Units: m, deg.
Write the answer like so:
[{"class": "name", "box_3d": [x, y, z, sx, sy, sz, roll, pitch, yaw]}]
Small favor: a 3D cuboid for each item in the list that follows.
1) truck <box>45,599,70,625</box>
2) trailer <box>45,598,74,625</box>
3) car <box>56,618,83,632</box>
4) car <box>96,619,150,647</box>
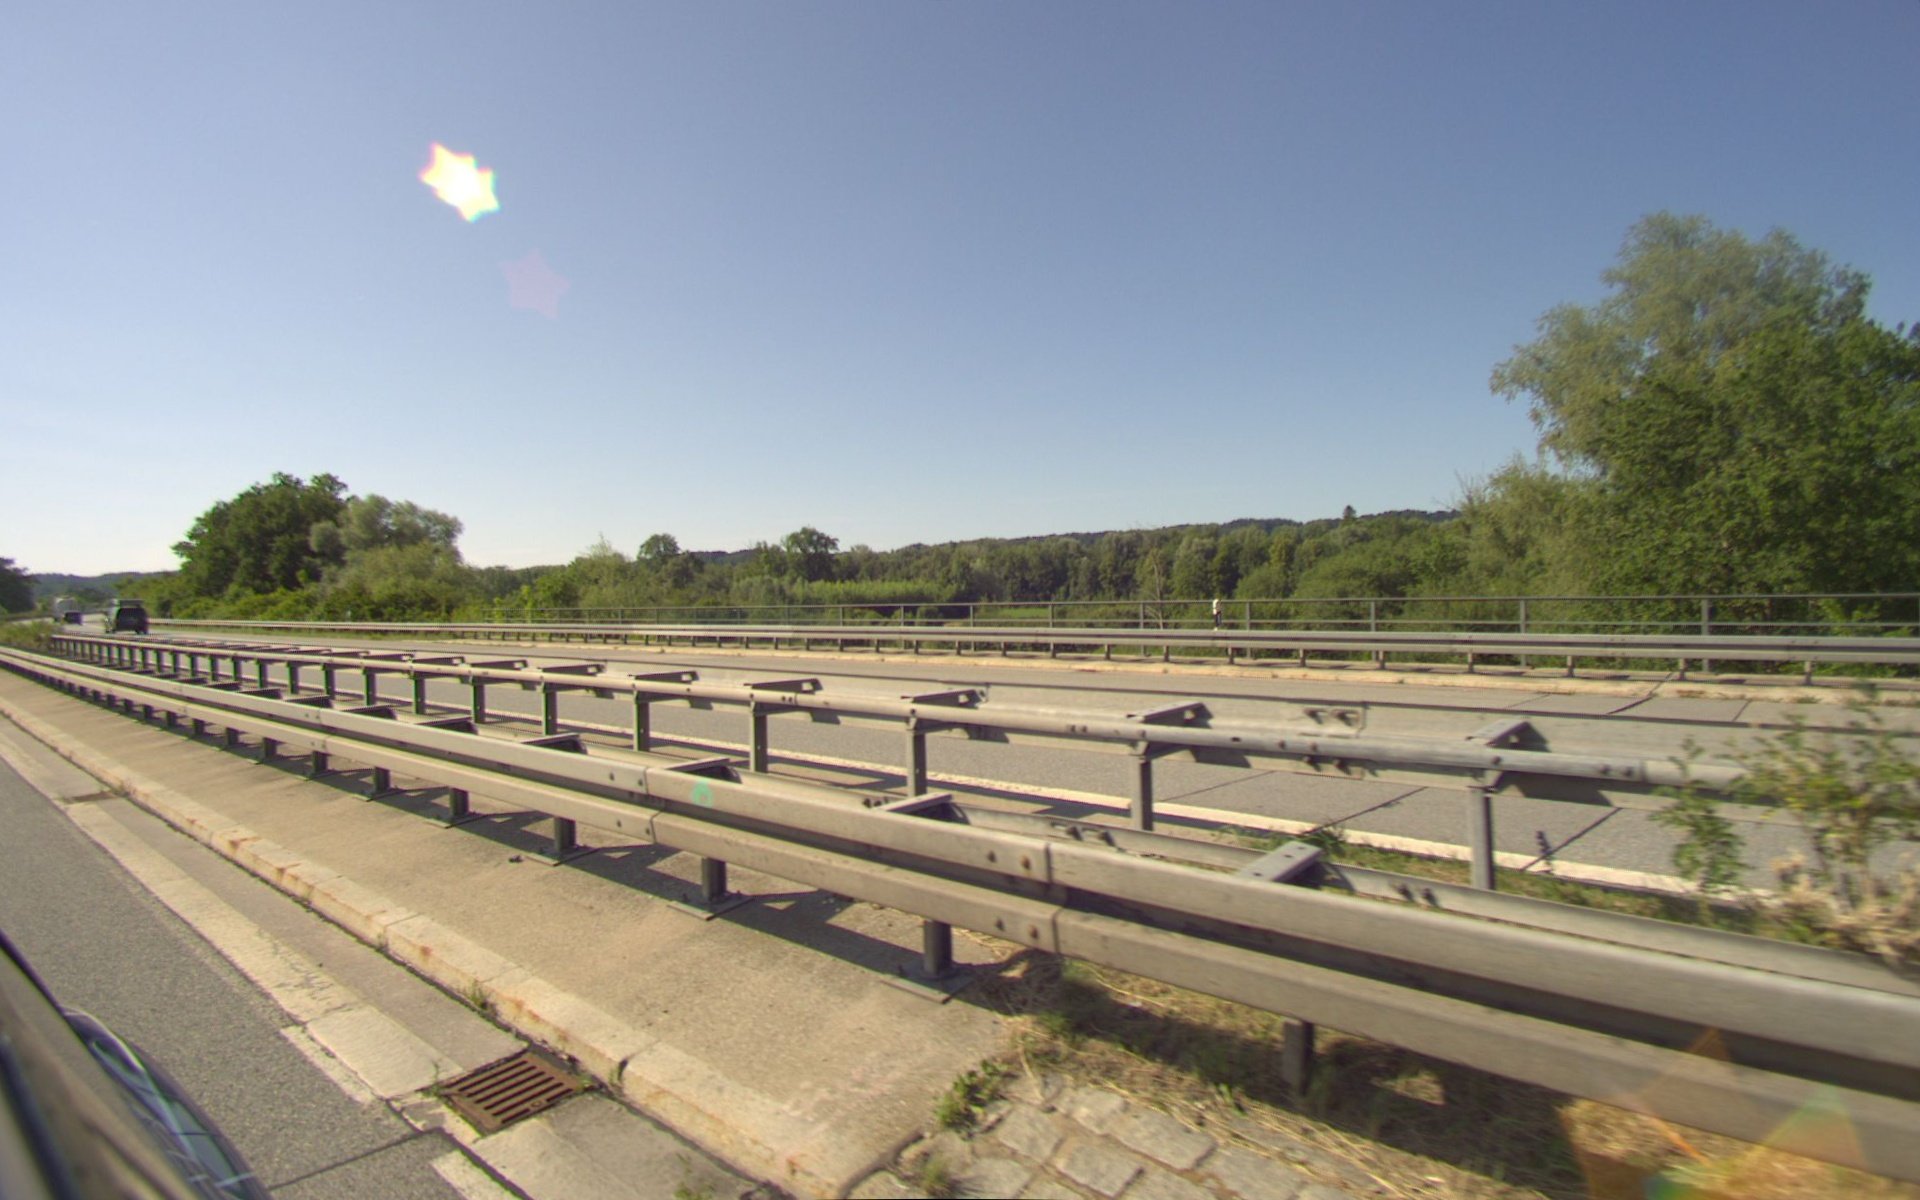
[{"class": "truck", "box_3d": [-134.010, 1.753, 150.241, 2.708, 3.755, 5.978, 0, -1, -43]}, {"class": "trailer", "box_3d": [-129.400, 1.642, 145.403, 2.709, 3.755, 10.921, 1, -1, -44]}, {"class": "car", "box_3d": [-99.971, 2.767, 113.598, 4.421, 1.566, 1.971, -1, -2, 44]}, {"class": "car", "box_3d": [-52.848, 2.068, 63.863, 5.317, 1.692, 1.972, -1, -2, 43]}]
